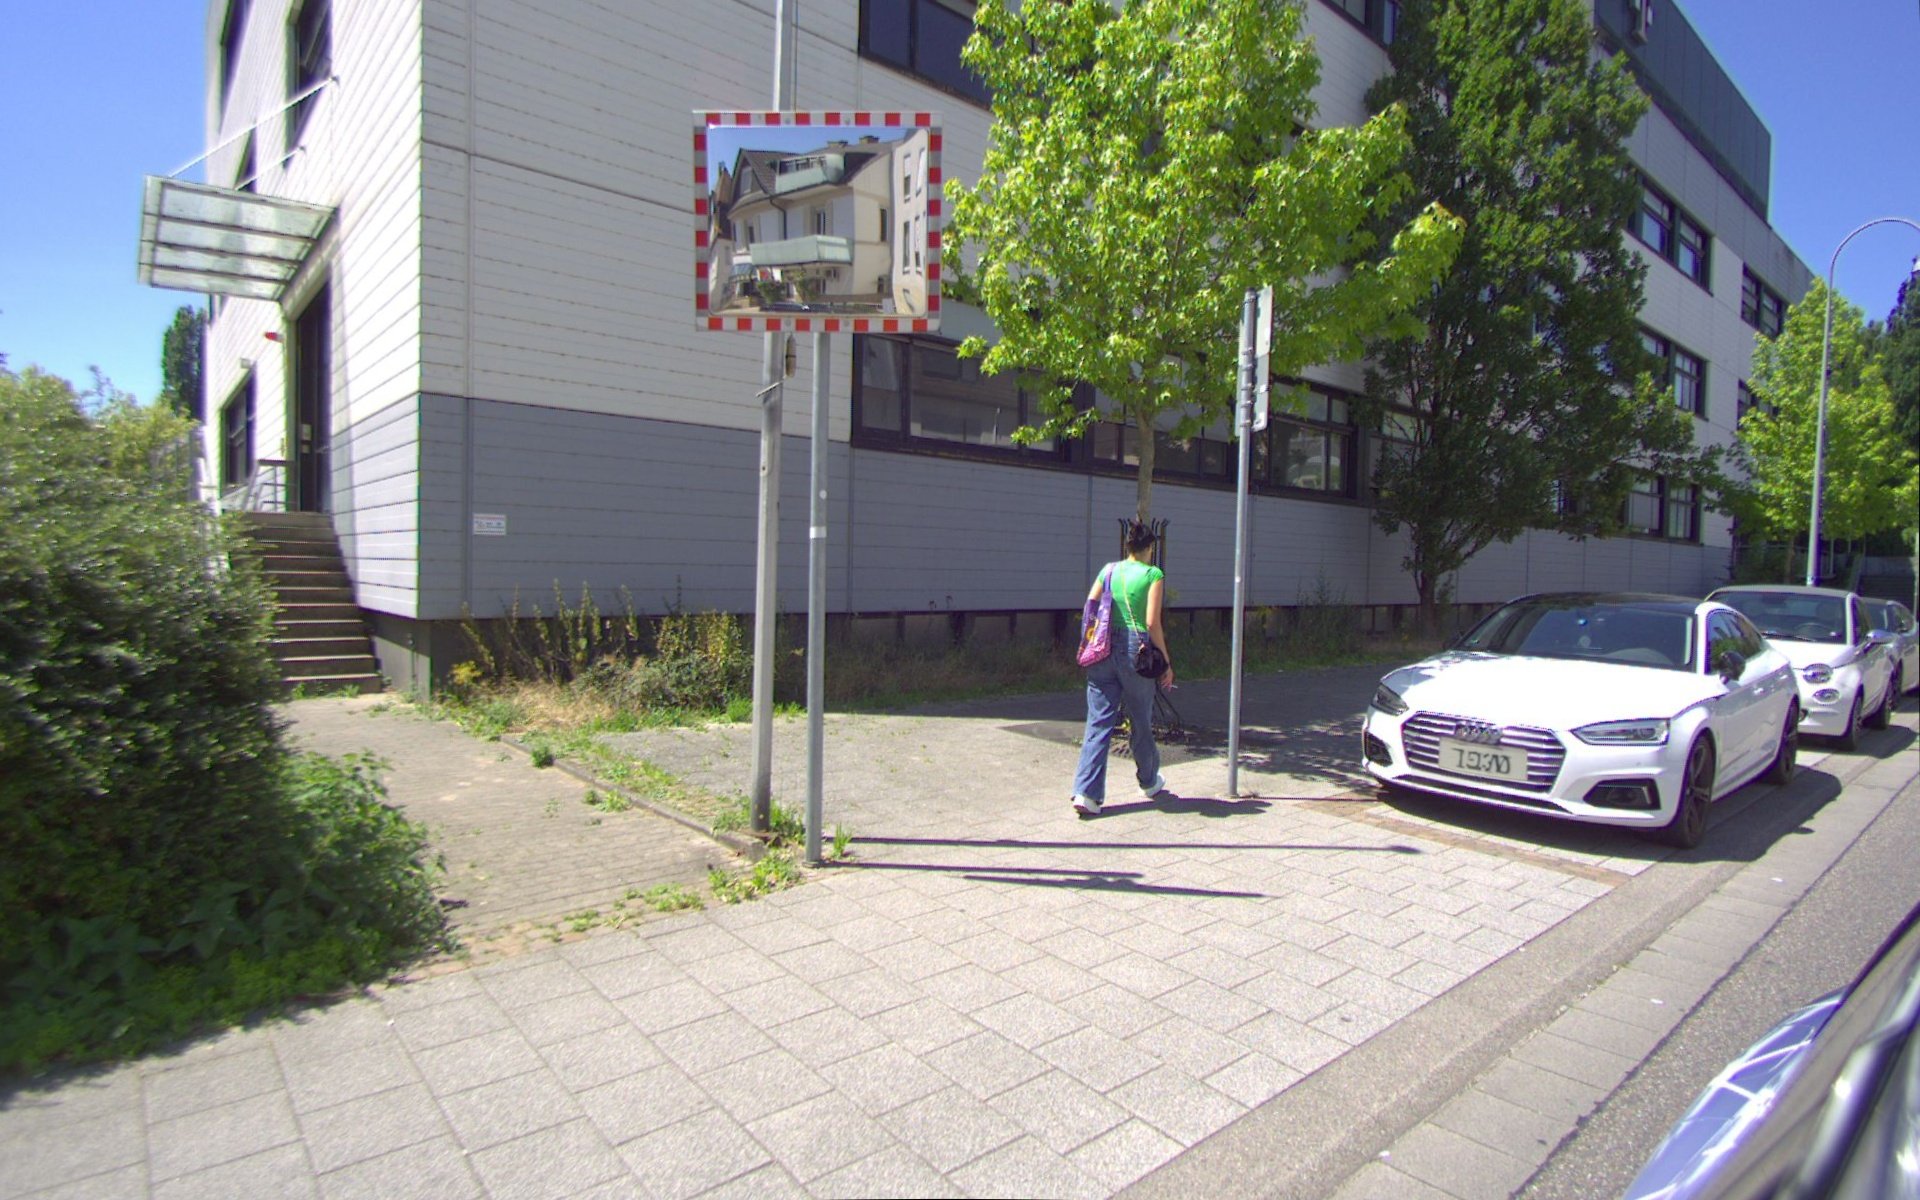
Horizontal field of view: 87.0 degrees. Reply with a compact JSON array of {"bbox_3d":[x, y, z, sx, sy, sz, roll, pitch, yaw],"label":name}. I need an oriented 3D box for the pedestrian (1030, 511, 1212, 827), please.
[{"bbox_3d":[0.993,0.347,6.131,0.676,1.720,1.038,4,3,32],"label":"pedestrian"}]

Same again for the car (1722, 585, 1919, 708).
[{"bbox_3d":[12.251,0.530,13.997,3.929,1.382,1.842,0,3,-40],"label":"car"}]

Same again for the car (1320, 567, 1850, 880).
[{"bbox_3d":[4.730,0.574,7.298,4.796,1.487,1.919,0,3,-42],"label":"car"}]

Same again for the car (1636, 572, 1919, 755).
[{"bbox_3d":[8.680,0.516,10.553,3.809,1.516,1.714,0,3,-41],"label":"car"}]
